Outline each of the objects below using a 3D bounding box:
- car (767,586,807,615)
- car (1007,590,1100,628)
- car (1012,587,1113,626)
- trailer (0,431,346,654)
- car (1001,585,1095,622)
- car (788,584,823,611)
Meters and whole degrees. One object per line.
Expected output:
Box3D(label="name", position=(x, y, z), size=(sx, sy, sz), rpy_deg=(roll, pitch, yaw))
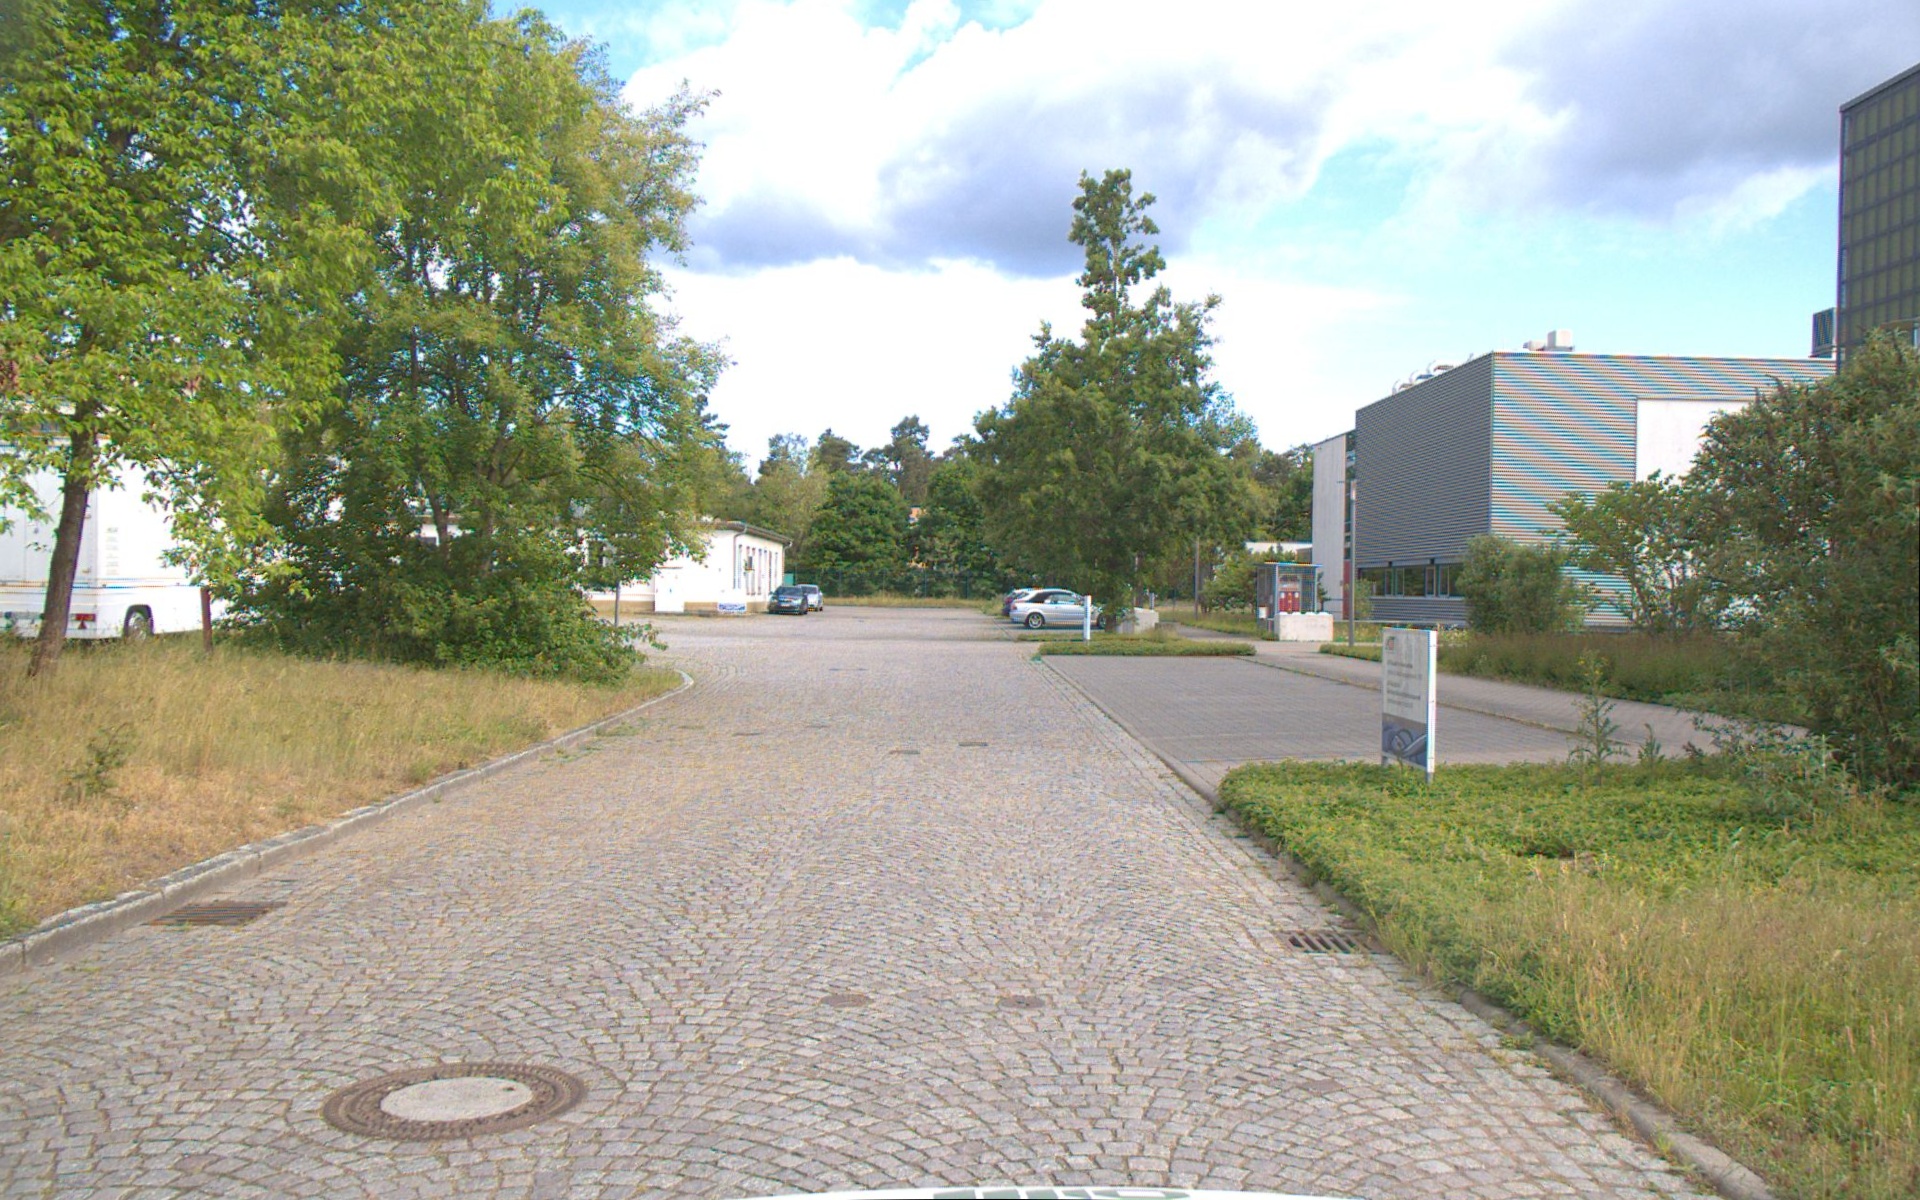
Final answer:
Box3D(label="car", position=(-8.824, 0.011, 84.385), size=(1.614, 1.393, 3.997), rpy_deg=(1, 0, -1))
Box3D(label="car", position=(3.528, 0.325, 62.983), size=(3.450, 1.386, 1.622), rpy_deg=(-1, 0, 0))
Box3D(label="car", position=(4.060, 0.248, 65.684), size=(3.903, 1.473, 1.653), rpy_deg=(-1, 0, 0))
Box3D(label="trailer", position=(-15.443, -0.997, 32.591), size=(2.571, 3.660, 10.179), rpy_deg=(1, 0, 2))
Box3D(label="car", position=(3.750, 0.151, 70.811), size=(3.903, 1.501, 1.653), rpy_deg=(-1, 0, 0))
Box3D(label="car", position=(-8.816, -0.131, 94.727), size=(1.614, 1.484, 3.997), rpy_deg=(1, 0, -1))
